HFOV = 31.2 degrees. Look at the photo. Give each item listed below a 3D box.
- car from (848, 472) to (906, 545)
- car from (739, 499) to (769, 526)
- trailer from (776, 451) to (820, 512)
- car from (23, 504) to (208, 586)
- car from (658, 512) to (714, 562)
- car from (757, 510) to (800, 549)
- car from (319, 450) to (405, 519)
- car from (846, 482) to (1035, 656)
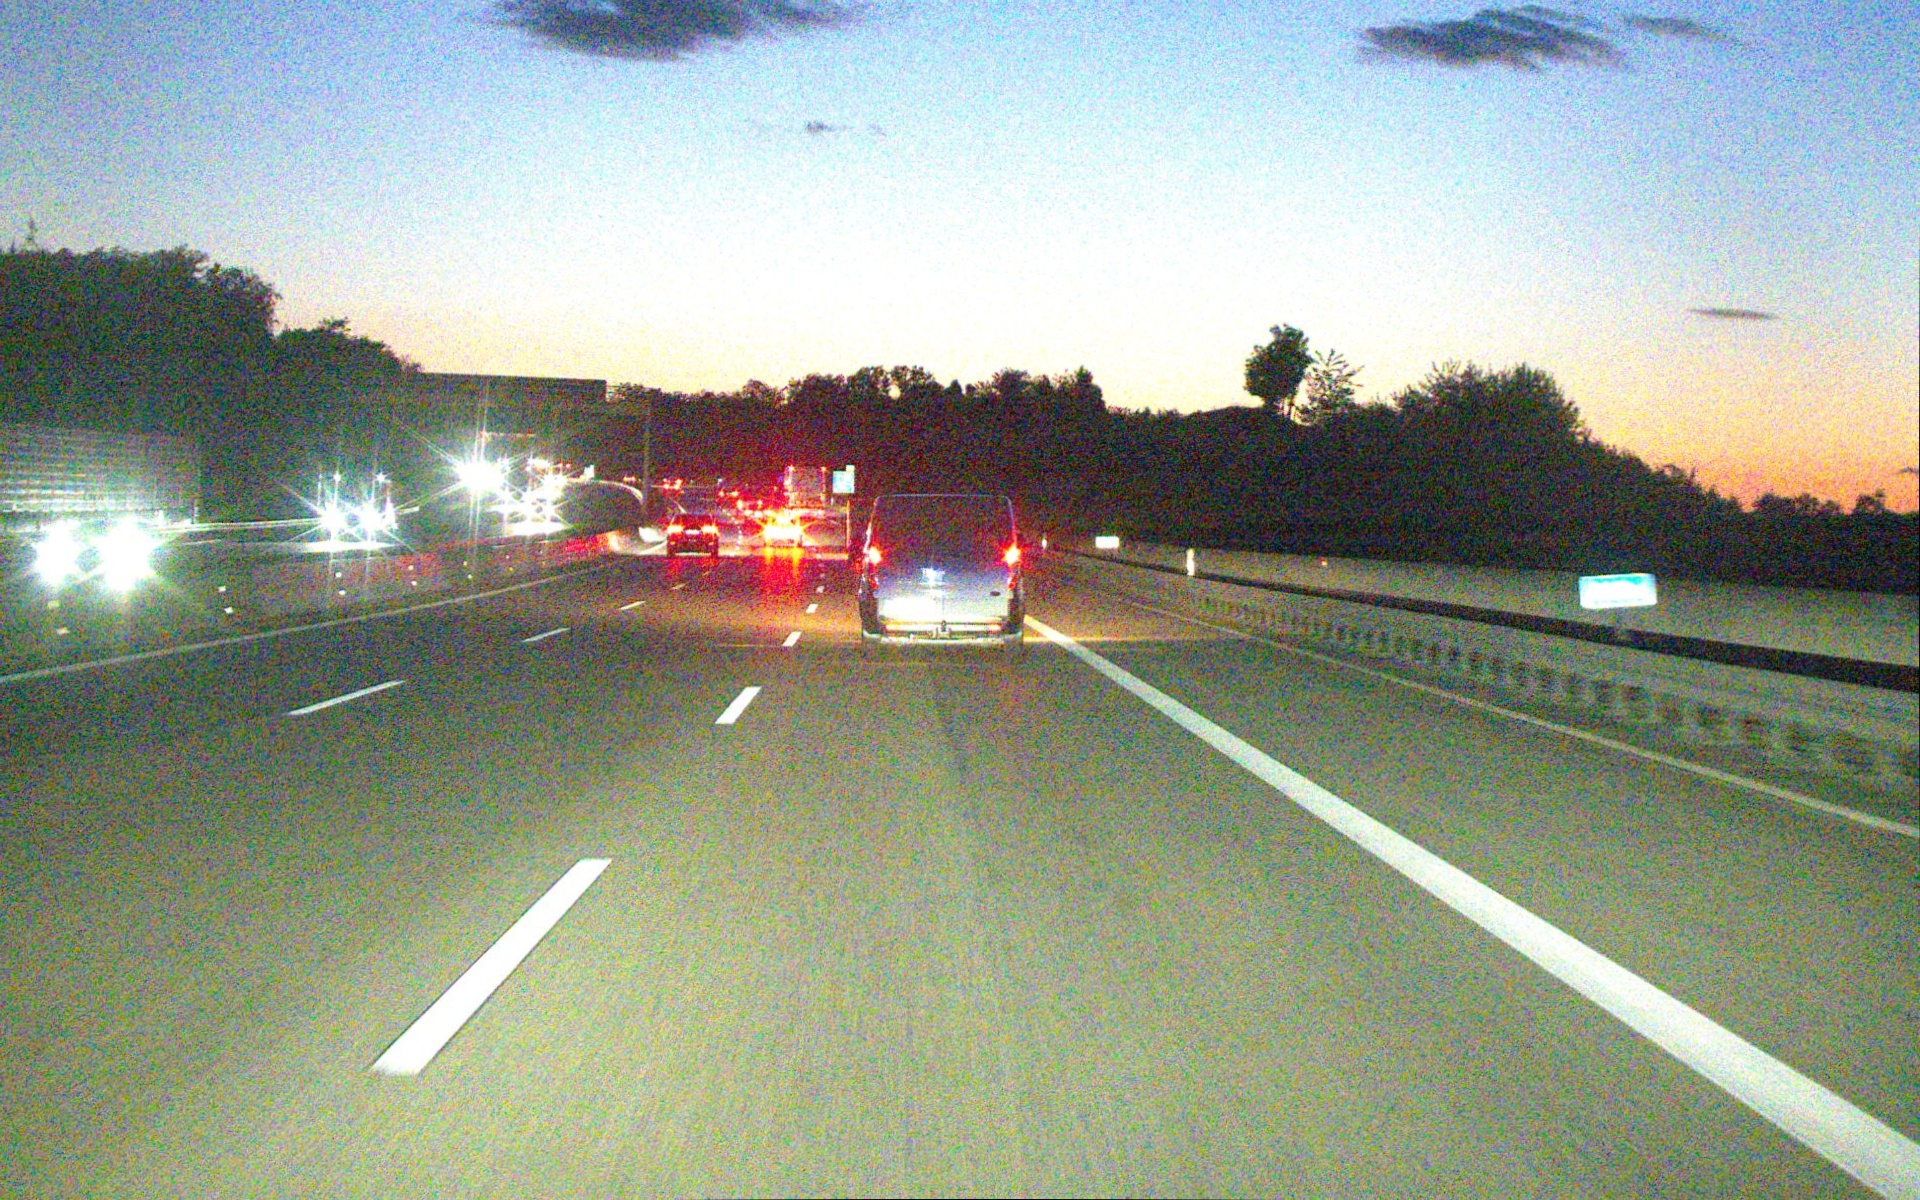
[{"bbox_3d":[-3.078,-3.441,128.669,2.032,2.637,5.725,1,2,0],"label":"car"},{"bbox_3d":[-14.078,-5.954,234.759,1.993,1.788,4.001,1,1,-4],"label":"car"},{"bbox_3d":[-12.514,-9.024,264.744,2.829,4.242,17.052,1,1,-4],"label":"trailer"},{"bbox_3d":[-17.169,-1.120,70.194,2.559,1.550,5.109,1,1,-1],"label":"car"},{"bbox_3d":[-10.357,-2.363,130.123,1.993,1.809,4.000,1,1,-3],"label":"car"},{"bbox_3d":[-8.586,-3.327,162.999,1.993,1.788,4.000,1,1,-2],"label":"car"},{"bbox_3d":[-27.825,-5.382,160.228,2.651,3.074,8.216,1,2,-1],"label":"car"},{"bbox_3d":[-0.326,-0.461,43.009,2.115,1.994,5.665,1,2,-3],"label":"car"}]
